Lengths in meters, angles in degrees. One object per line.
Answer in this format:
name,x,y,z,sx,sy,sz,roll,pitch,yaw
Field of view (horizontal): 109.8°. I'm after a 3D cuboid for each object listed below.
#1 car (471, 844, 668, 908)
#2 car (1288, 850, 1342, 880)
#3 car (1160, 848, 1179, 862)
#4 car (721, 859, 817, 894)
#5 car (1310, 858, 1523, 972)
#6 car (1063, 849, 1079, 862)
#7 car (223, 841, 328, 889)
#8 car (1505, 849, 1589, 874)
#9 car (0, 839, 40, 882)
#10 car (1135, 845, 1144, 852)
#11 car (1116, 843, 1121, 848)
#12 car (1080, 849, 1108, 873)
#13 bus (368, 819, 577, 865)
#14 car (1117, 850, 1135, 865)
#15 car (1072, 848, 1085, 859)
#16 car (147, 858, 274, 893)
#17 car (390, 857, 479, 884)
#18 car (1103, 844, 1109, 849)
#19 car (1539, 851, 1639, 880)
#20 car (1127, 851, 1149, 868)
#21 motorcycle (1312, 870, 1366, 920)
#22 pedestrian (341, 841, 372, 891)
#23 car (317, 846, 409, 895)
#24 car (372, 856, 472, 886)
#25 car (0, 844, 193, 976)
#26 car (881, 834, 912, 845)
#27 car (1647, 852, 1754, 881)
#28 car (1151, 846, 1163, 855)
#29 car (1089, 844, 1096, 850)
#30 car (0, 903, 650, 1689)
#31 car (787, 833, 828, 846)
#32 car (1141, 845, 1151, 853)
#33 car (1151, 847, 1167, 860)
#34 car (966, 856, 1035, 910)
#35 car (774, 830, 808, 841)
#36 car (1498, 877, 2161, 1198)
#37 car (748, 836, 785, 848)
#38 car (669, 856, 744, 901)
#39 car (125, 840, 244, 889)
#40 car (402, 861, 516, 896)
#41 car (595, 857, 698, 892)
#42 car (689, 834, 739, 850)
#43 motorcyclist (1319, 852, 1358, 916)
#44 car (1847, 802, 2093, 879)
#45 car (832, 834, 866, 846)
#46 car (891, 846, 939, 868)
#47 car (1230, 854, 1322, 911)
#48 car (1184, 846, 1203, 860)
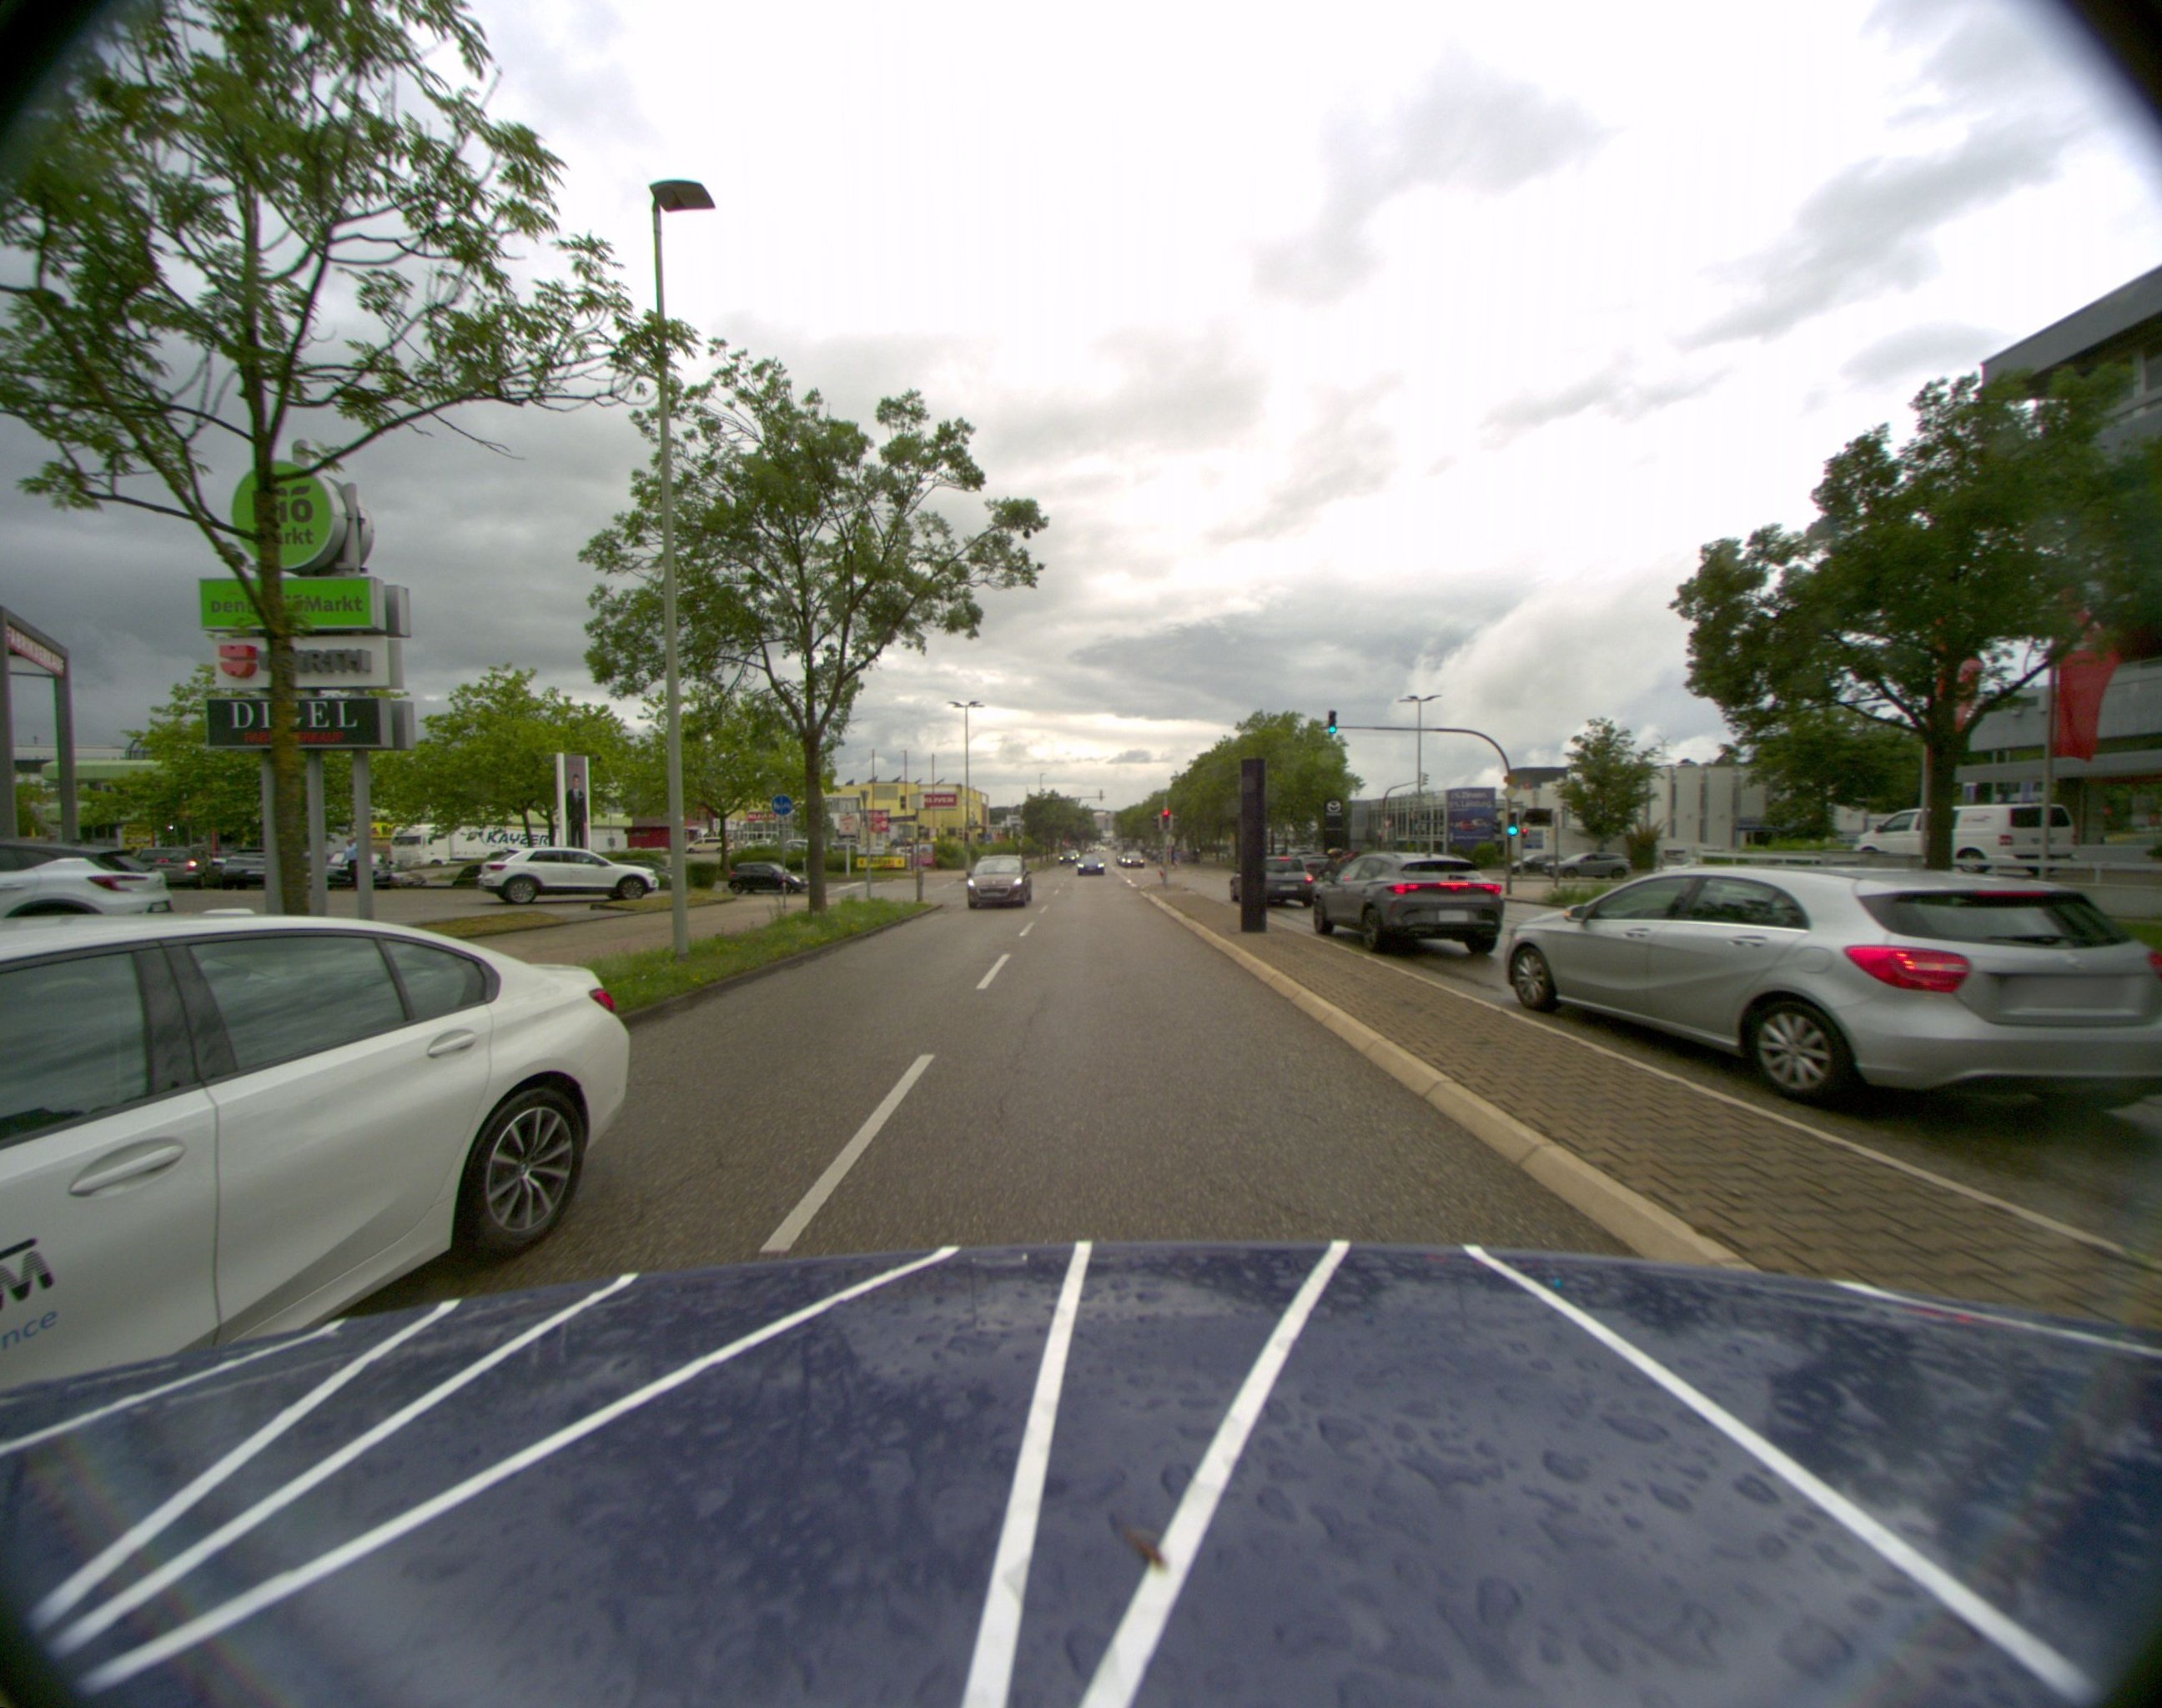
car,-14.345,0.608,21.470,4.324,1.570,1.738,2,1,-45
car,12.969,0.575,42.328,1.799,1.501,3.999,-2,1,1
car,10.032,0.081,86.097,1.753,1.501,4.000,1,0,1
car,-15.417,1.099,37.695,3.998,1.502,1.742,-1,3,-4
car,5.208,0.848,12.432,1.753,1.516,4.000,1,0,1
car,-1.133,0.148,88.879,1.753,1.501,4.000,1,0,1
car,-30.241,0.368,28.659,1.804,1.502,4.103,2,2,-34
car,32.164,0.510,52.571,4.518,1.647,1.955,0,0,6
car,-52.245,0.296,35.871,3.995,1.989,1.800,1,1,4
car,13.866,-1.354,180.668,1.753,1.566,4.000,1,0,1
car,12.652,-2.785,258.005,1.753,1.501,4.000,1,0,2
car,0.905,0.464,52.191,1.798,1.572,4.219,-2,0,2
bus,-52.686,-0.922,67.273,4.101,3.493,17.335,0,0,2
car,4.763,0.389,80.427,1.753,1.501,4.000,1,0,1
car,-0.333,-0.091,107.956,1.753,1.501,4.000,1,0,1
car,-43.334,1.056,37.904,3.998,1.502,1.742,-1,3,-4
car,-41.346,1.040,48.633,3.998,1.502,1.742,-1,3,-4
car,7.463,-2.302,229.904,1.753,1.501,4.000,1,0,2
car,30.053,0.668,45.067,4.518,1.647,1.955,0,0,6
car,5.092,0.463,68.636,1.753,1.501,4.000,1,0,1
motorcycle,6.270,0.977,18.543,0.704,1.101,1.800,1,0,1
pedestrian,-24.579,0.396,25.788,0.471,1.671,0.569,0,0,14
car,-26.632,0.569,28.318,1.804,1.502,4.103,2,2,-34
car,-37.638,0.974,43.478,3.998,1.502,1.742,-1,3,-4
car,-14.602,0.663,9.535,4.186,1.570,1.738,2,1,-37
car,-27.100,-2.123,111.714,3.996,1.501,1.800,0,0,1
car,36.343,0.704,44.672,4.518,1.647,1.955,0,0,6
car,13.402,-0.587,134.677,1.753,1.566,4.000,1,0,1
car,2.975,-1.739,194.898,1.753,1.501,4.000,1,0,2
car,-3.176,1.058,1.598,1.808,1.432,4.541,-3,1,1
car,-31.514,-1.660,87.585,3.996,1.501,1.800,0,0,1
car,13.708,-1.099,160.853,1.753,1.566,4.000,1,0,1
car,10.166,-0.087,99.700,1.753,1.566,4.000,1,0,1
car,-2.542,0.874,24.993,1.799,1.572,4.218,-2,0,0
car,-41.926,-2.702,109.981,4.221,1.572,1.824,0,0,1
car,5.066,0.945,5.644,1.745,1.398,4.000,1,0,0
car,-42.683,-1.623,103.166,4.221,1.572,1.824,0,0,1
car,-14.083,0.900,28.460,1.747,1.570,3.864,1,-1,-38
car,-33.440,0.355,28.490,1.804,1.502,4.103,2,2,-34
car,-30.599,1.198,37.493,3.998,1.502,1.742,-1,3,-4
car,-21.636,1.008,37.952,3.998,1.502,1.742,-1,3,-4
car,-44.058,-1.431,91.283,5.092,1.787,2.035,0,0,1
motorcyclist,6.273,0.705,18.513,0.693,1.519,0.727,1,1,1
car,26.347,-0.397,22.873,1.997,2.002,4.887,-2,1,6
car,-30.730,-1.861,100.753,3.996,1.501,1.800,0,0,1
car,-14.294,0.253,65.565,4.001,1.802,1.766,0,0,-10
car,5.652,0.758,22.494,1.753,1.501,4.000,1,0,1
car,13.547,-0.130,91.554,1.753,1.566,4.000,1,0,1
